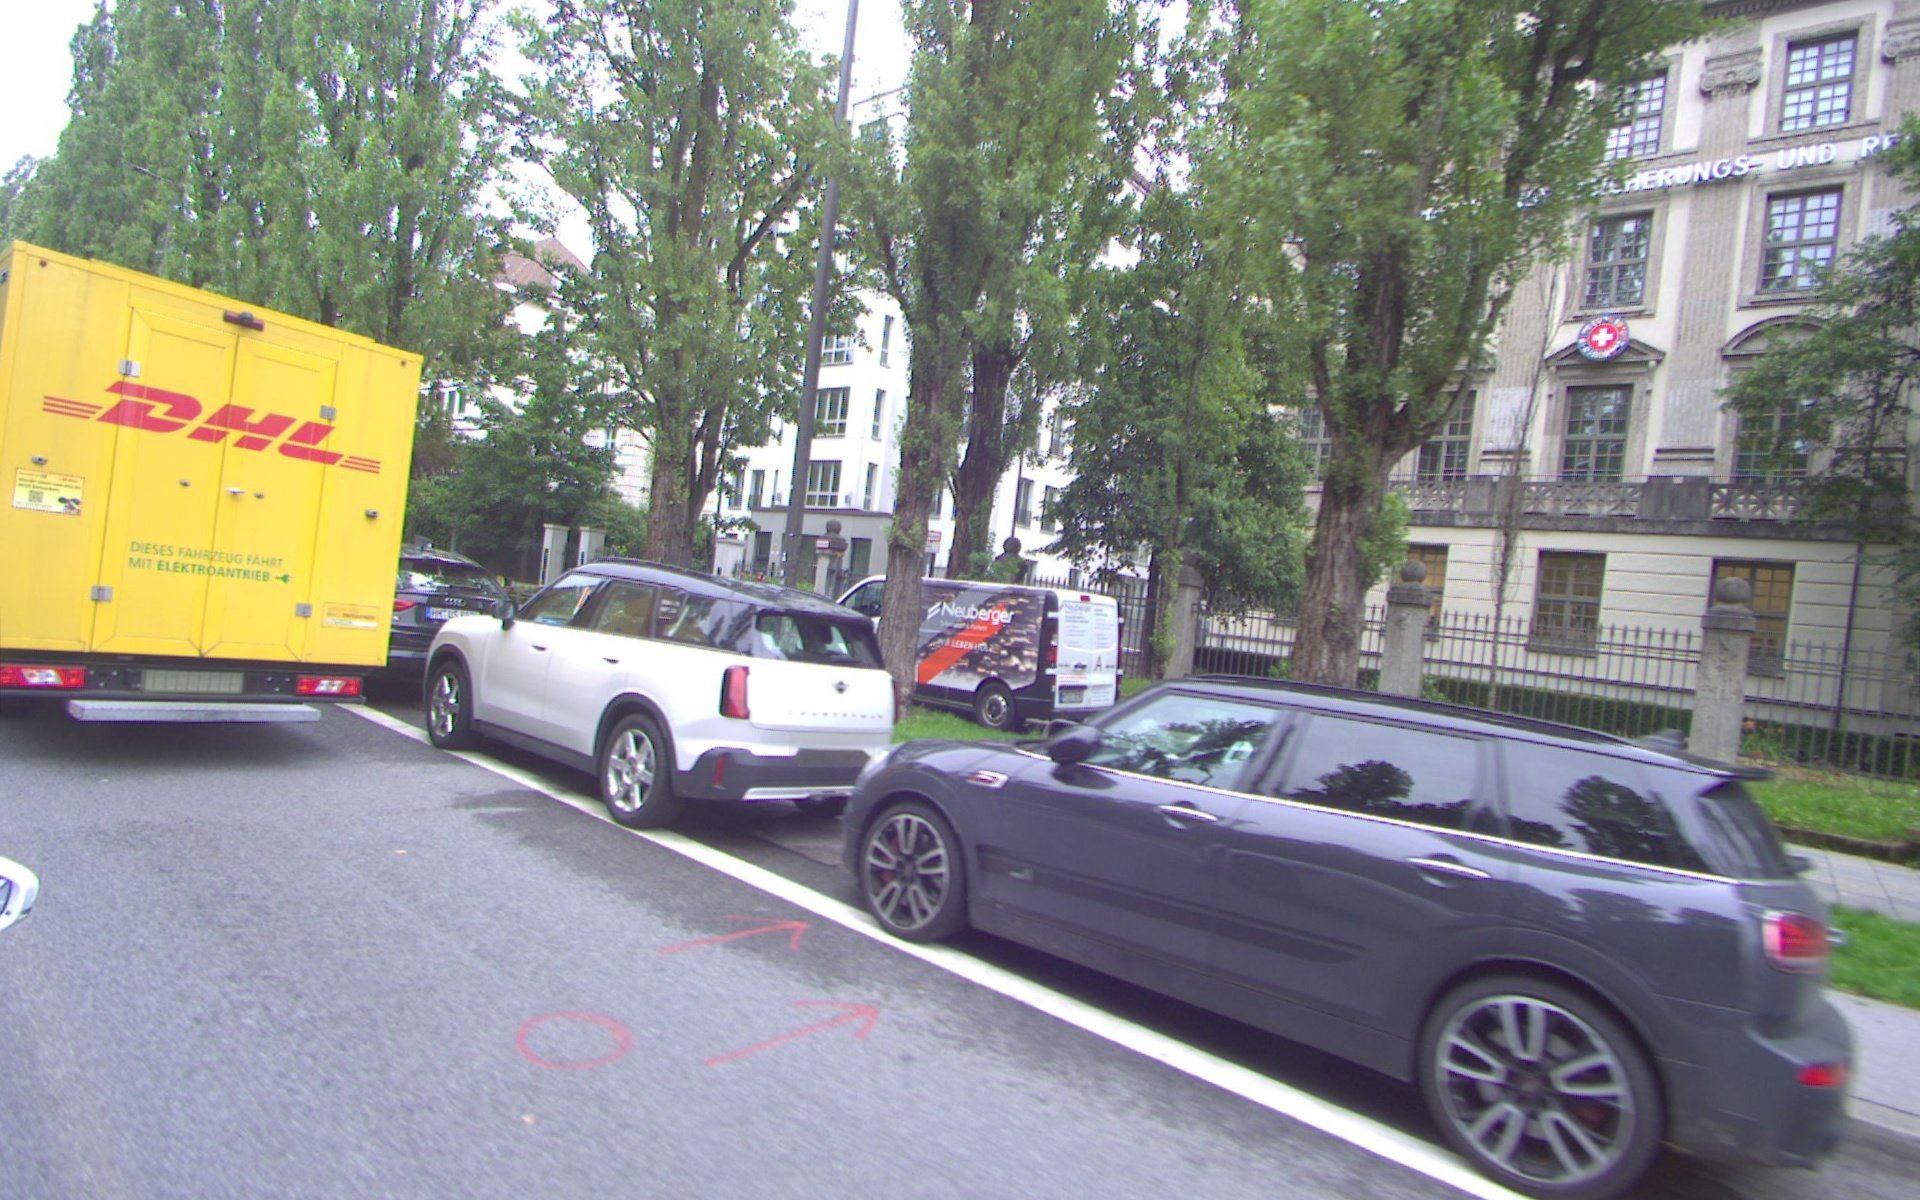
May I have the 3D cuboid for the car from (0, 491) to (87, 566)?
[{"bbox_3d":[-24.428,-1.931,26.310,4.028,1.614,1.677,7,-2,40],"label":"car"}]

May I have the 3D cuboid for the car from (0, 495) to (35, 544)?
[{"bbox_3d":[-32.949,-2.846,34.031,3.941,1.493,1.797,7,0,39],"label":"car"}]

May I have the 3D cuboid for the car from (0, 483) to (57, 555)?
[{"bbox_3d":[-28.356,-2.487,29.894,3.944,1.857,1.702,7,-1,42],"label":"car"}]

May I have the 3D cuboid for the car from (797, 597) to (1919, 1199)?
[{"bbox_3d":[1.326,0.986,4.525,4.088,1.462,1.633,6,-3,40],"label":"car"}]

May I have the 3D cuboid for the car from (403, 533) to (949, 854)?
[{"bbox_3d":[-2.292,0.534,7.543,4.086,1.600,1.781,7,-2,40],"label":"car"}]

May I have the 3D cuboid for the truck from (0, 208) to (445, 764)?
[{"bbox_3d":[-7.248,-0.798,8.439,7.226,2.933,2.326,7,0,40],"label":"truck"}]

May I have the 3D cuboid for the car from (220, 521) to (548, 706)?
[{"bbox_3d":[-6.477,0.080,11.101,4.263,1.514,1.723,6,0,41],"label":"car"}]

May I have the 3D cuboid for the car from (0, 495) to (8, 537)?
[{"bbox_3d":[-36.857,-3.299,37.227,3.941,1.510,1.784,7,0,39],"label":"car"}]

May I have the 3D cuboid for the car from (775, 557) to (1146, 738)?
[{"bbox_3d":[-0.155,0.603,14.879,5.246,1.949,1.992,6,0,39],"label":"car"}]

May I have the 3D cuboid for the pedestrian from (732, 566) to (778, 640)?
[{"bbox_3d":[-5.566,0.075,27.304,0.927,1.889,0.769,6,1,-21],"label":"pedestrian"}]
